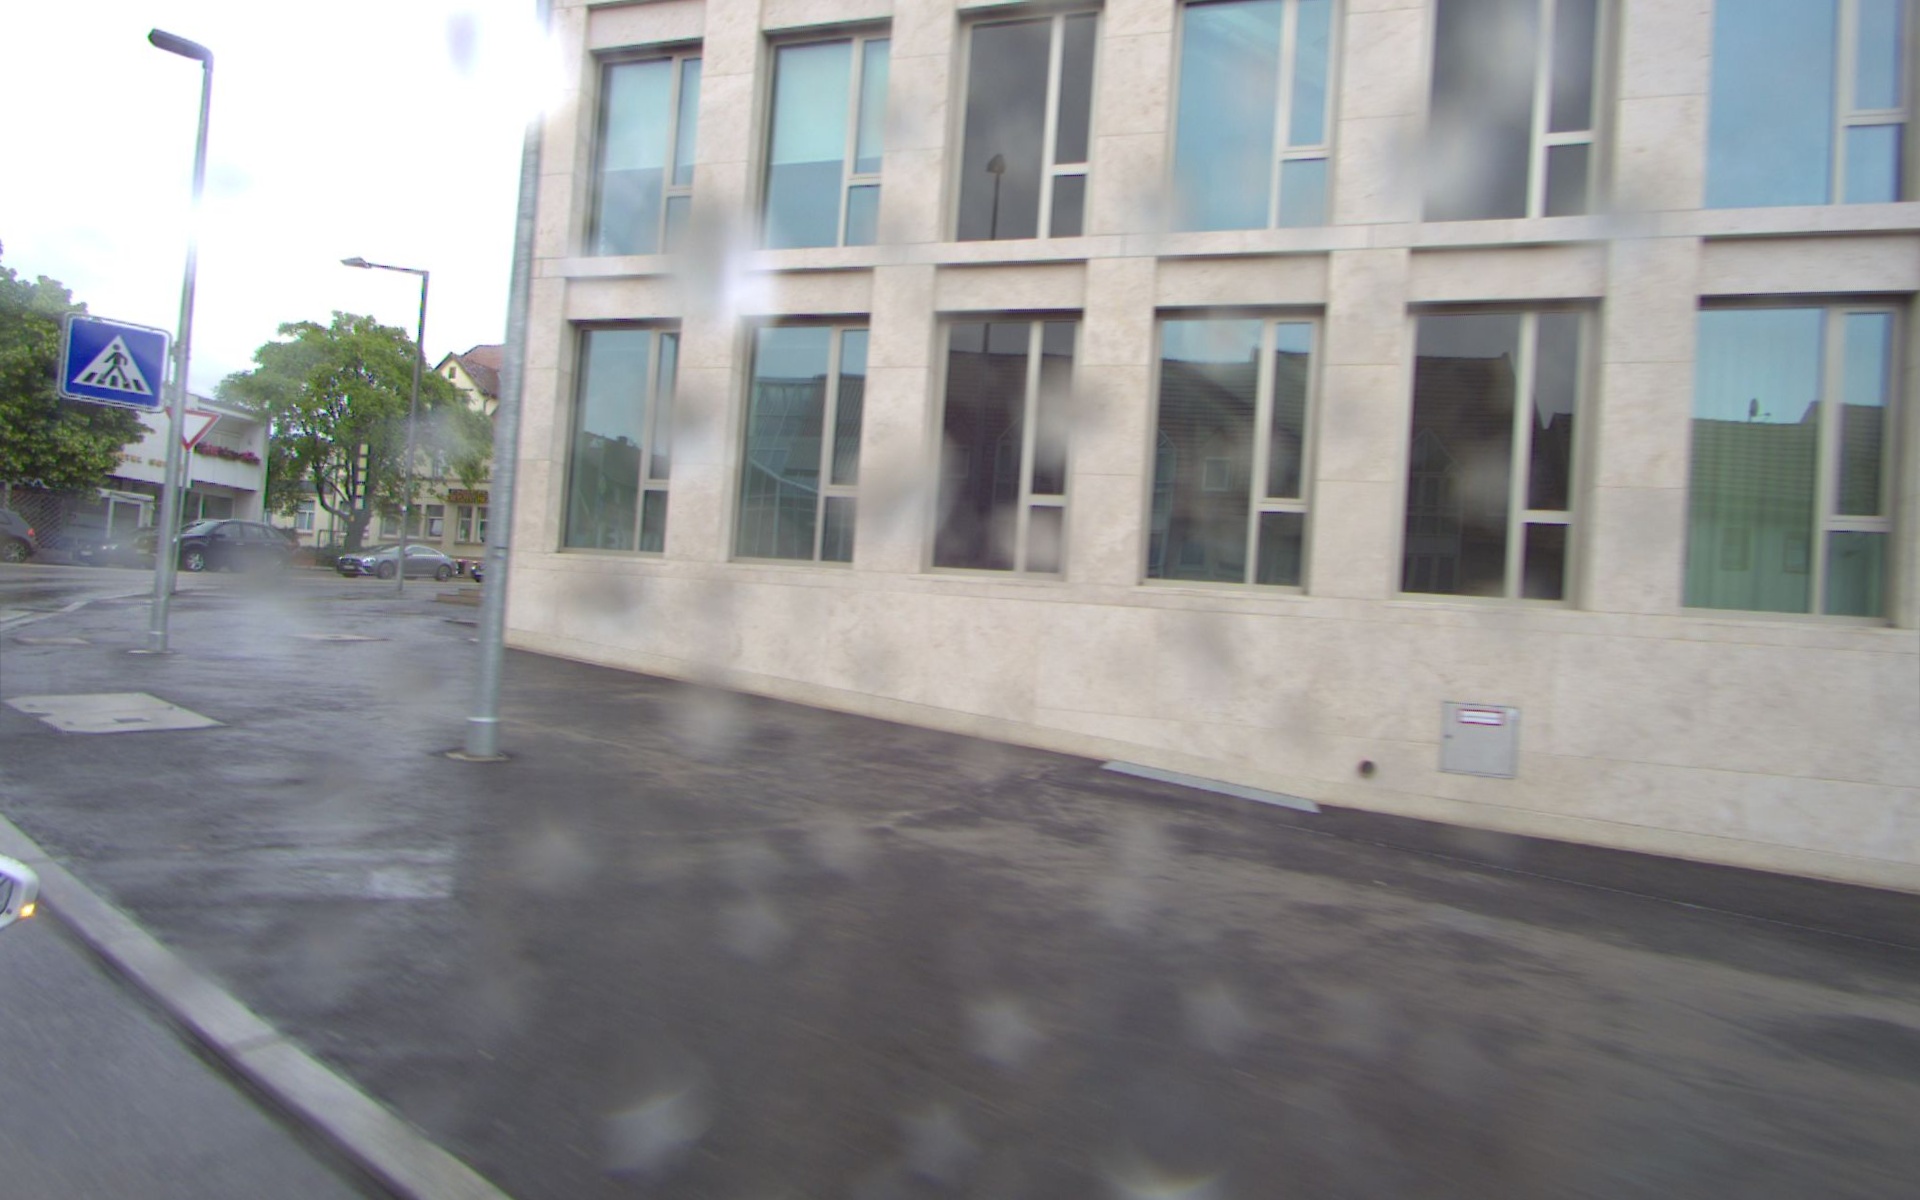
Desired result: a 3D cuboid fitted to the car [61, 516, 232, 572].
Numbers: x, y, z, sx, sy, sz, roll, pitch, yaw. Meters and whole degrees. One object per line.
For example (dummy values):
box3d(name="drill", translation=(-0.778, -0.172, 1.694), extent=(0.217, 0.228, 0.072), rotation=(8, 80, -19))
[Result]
box3d(name="car", translation=(-26.892, -1.822, 33.441), extent=(1.745, 1.538, 4.184), rotation=(2, 0, 15))

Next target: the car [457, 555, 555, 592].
box3d(name="car", translation=(-20.408, -1.169, 45.379), extent=(1.745, 1.471, 4.184), rotation=(2, 0, 15))

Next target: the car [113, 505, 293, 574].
box3d(name="car", translation=(-23.570, -1.825, 31.534), extent=(1.745, 1.839, 4.314), rotation=(2, 0, 15))

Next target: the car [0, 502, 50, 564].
box3d(name="car", translation=(-25.705, -1.781, 25.007), extent=(1.745, 1.524, 4.315), rotation=(2, 0, 14))

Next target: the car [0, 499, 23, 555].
box3d(name="car", translation=(-27.913, -2.094, 26.683), extent=(1.745, 1.538, 4.184), rotation=(2, 0, 15))

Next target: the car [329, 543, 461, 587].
box3d(name="car", translation=(-21.791, -1.311, 39.034), extent=(1.745, 1.471, 4.538), rotation=(2, 0, 15))
